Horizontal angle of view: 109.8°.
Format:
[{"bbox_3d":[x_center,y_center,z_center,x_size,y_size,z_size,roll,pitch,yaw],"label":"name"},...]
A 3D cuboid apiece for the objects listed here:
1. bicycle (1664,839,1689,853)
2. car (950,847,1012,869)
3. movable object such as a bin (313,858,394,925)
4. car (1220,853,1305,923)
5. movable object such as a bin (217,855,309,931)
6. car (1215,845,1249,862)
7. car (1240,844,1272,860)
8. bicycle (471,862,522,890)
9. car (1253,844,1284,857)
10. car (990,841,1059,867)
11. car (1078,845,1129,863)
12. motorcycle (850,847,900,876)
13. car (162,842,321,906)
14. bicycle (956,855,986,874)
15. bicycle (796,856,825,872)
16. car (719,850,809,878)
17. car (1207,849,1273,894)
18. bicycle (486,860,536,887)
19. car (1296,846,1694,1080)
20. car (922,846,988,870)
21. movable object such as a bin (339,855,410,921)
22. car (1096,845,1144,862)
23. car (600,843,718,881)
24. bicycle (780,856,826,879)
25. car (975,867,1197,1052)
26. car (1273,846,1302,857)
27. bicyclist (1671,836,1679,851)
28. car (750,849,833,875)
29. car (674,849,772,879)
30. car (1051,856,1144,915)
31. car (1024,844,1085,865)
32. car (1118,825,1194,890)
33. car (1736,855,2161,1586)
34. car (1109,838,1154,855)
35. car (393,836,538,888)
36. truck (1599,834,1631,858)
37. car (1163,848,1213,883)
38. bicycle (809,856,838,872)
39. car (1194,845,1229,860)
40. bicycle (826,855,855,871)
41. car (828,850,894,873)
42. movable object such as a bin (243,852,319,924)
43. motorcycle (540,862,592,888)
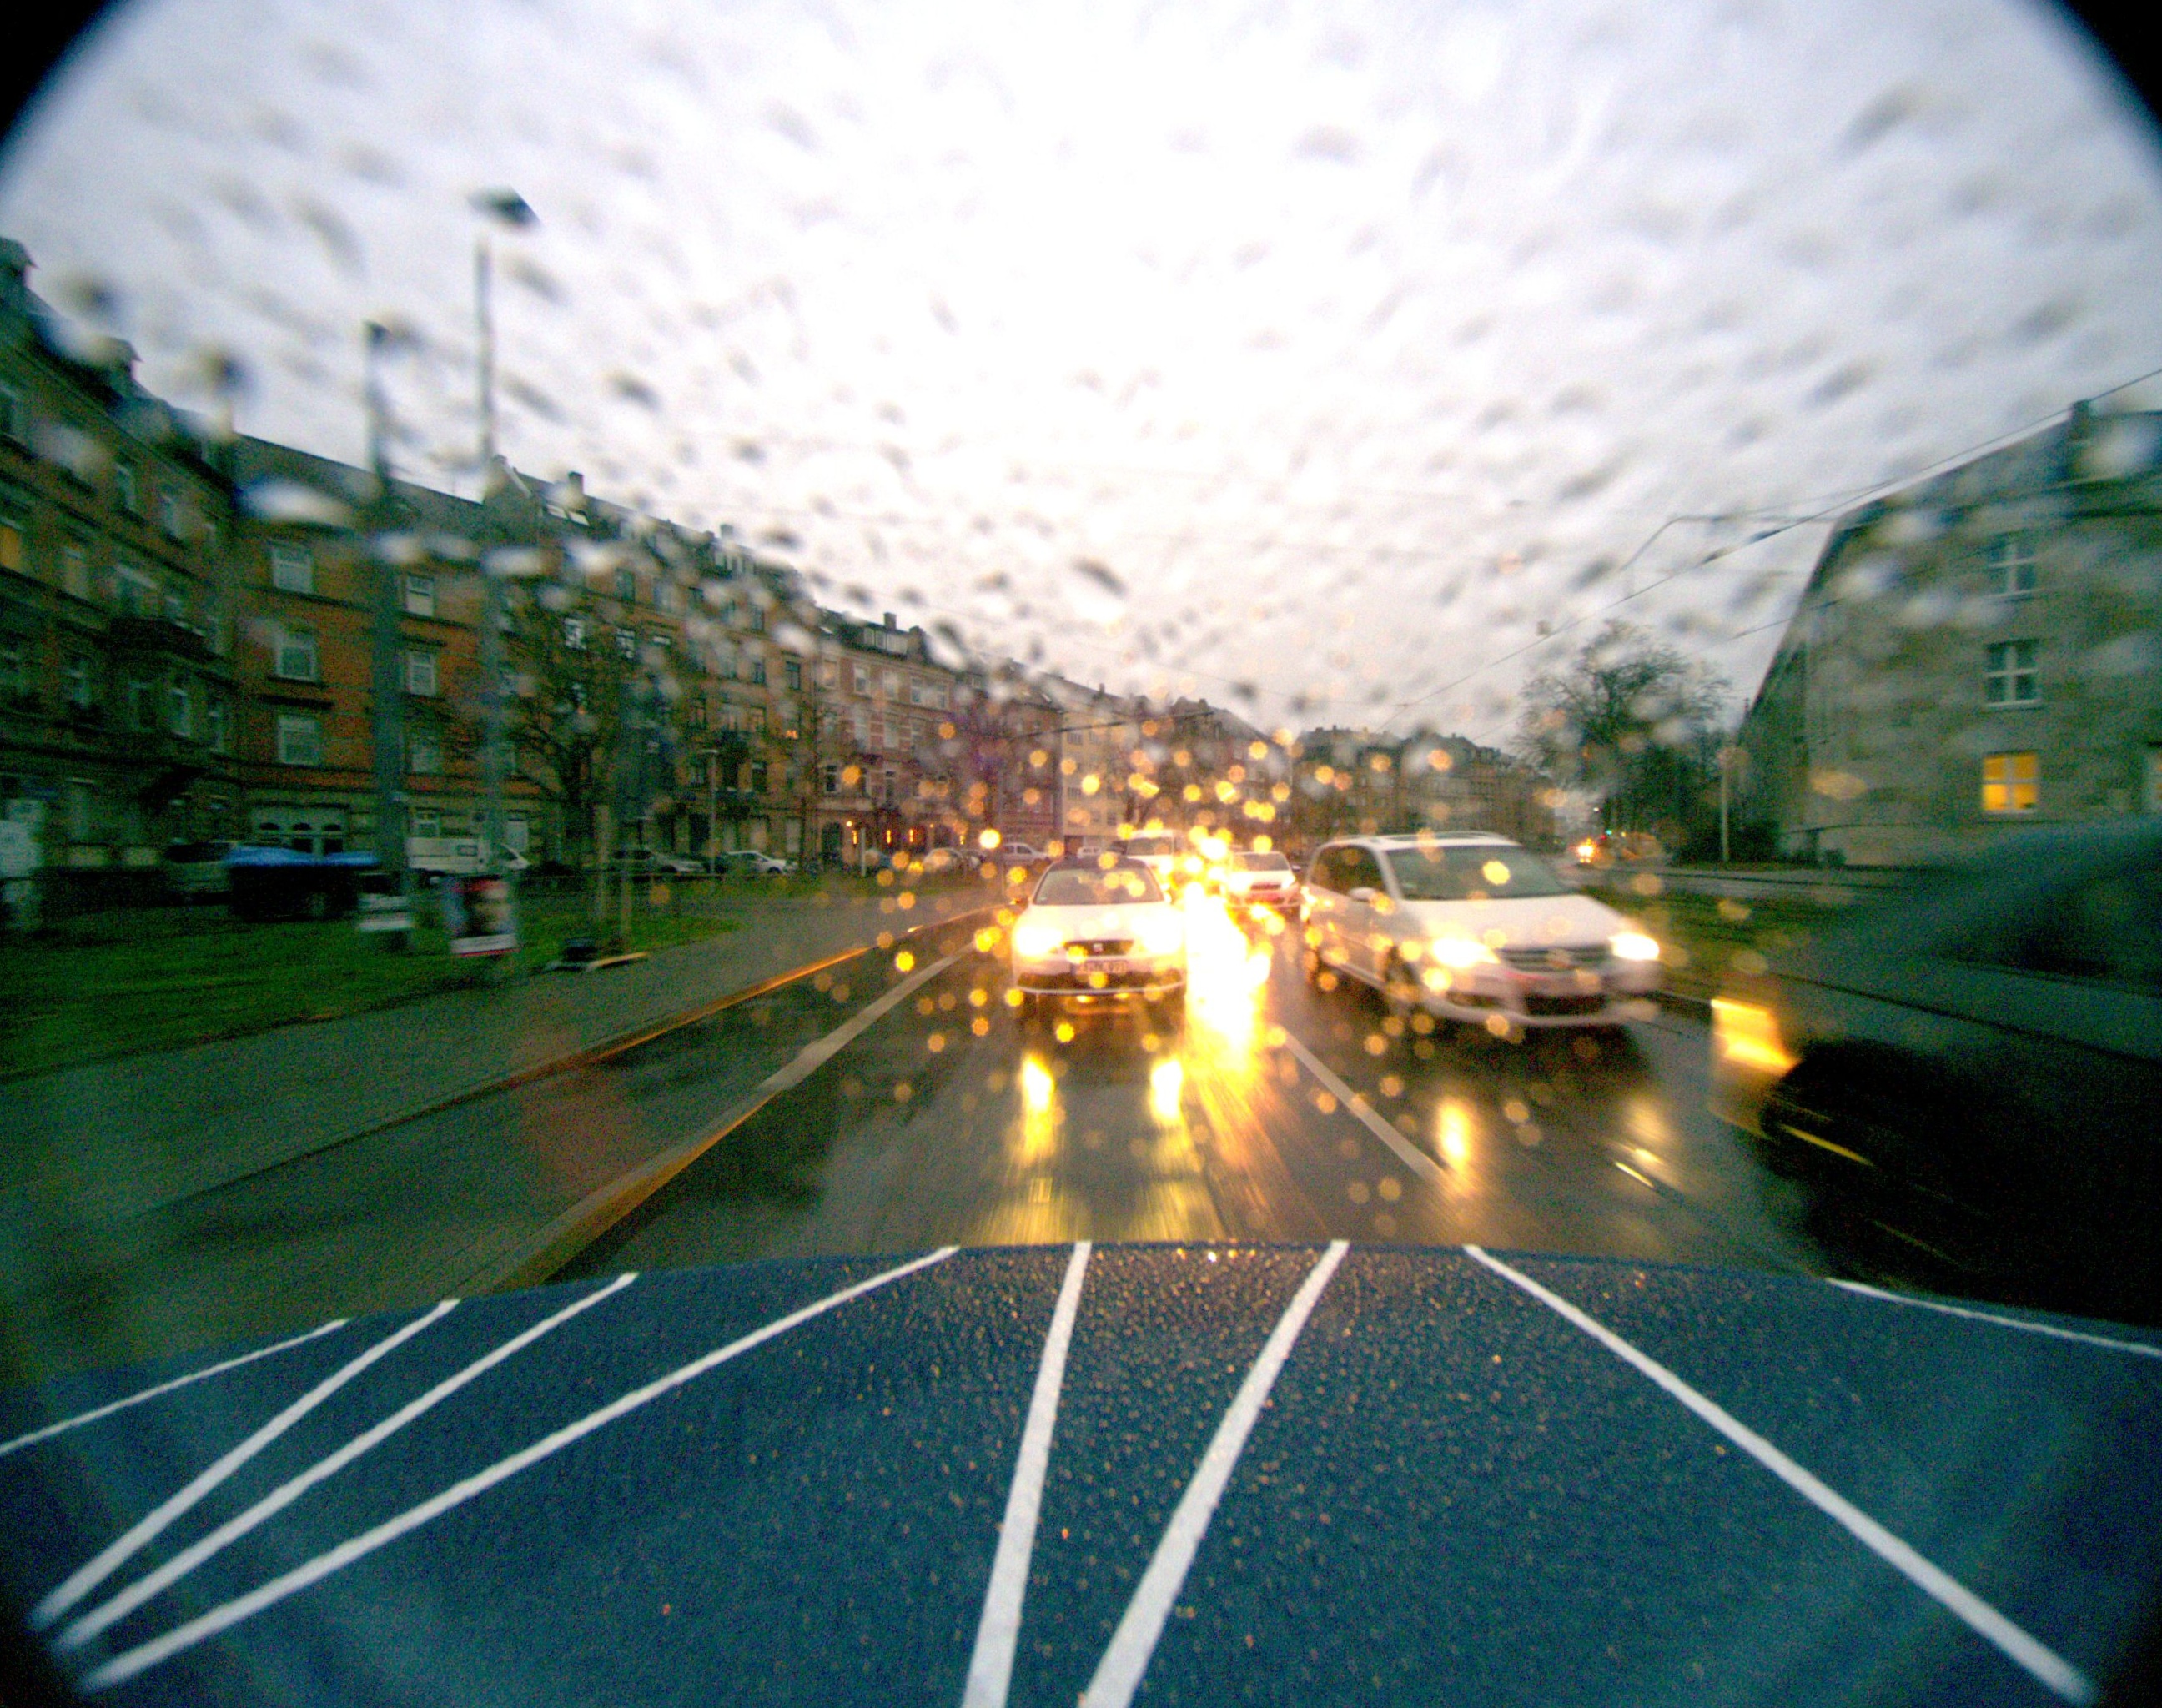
[{"bbox_3d":[76.789,-1.068,97.996,2.446,1.697,0.847,-1,2,34],"label":"bicycle"},{"bbox_3d":[-6.482,0.246,49.480,3.683,1.428,1.522,0,1,8],"label":"car"},{"bbox_3d":[-16.313,0.803,17.041,1.050,1.424,1.227,0,1,43],"label":"movable object such as a bin"},{"bbox_3d":[4.187,0.732,17.944,1.688,1.422,3.348,-1,1,9],"label":"car"},{"bbox_3d":[-17.078,0.774,15.893,1.050,1.502,1.255,0,1,43],"label":"movable object such as a bin"},{"bbox_3d":[15.191,-0.069,76.296,3.180,1.615,1.430,0,1,16],"label":"car"},{"bbox_3d":[18.601,-0.232,80.775,3.180,1.615,1.447,0,1,16],"label":"car"},{"bbox_3d":[-21.352,0.797,27.734,1.792,0.926,0.446,1,2,14],"label":"bicycle"},{"bbox_3d":[20.527,-0.421,83.052,3.180,1.405,1.383,0,1,18],"label":"car"},{"bbox_3d":[-3.807,-0.005,51.663,4.339,1.758,1.782,-1,1,7],"label":"car"},{"bbox_3d":[1.746,-0.021,58.533,3.608,1.362,1.619,0,1,12],"label":"car"},{"bbox_3d":[-10.333,0.352,38.129,2.352,1.338,0.886,3,3,22],"label":"motorcycle"},{"bbox_3d":[-27.998,0.594,25.586,1.945,1.931,4.588,-1,1,-26],"label":"car"},{"bbox_3d":[-5.996,0.557,41.311,1.790,0.926,0.447,2,2,36],"label":"bicycle"},{"bbox_3d":[-14.525,0.535,40.834,1.790,0.790,0.447,2,2,32],"label":"bicycle"},{"bbox_3d":[-15.380,0.468,36.956,3.683,1.298,1.669,-1,1,7],"label":"car"},{"bbox_3d":[5.784,0.571,27.295,1.874,1.466,4.176,-1,0,18],"label":"car"},{"bbox_3d":[-21.223,0.732,28.305,1.792,0.926,0.446,1,2,14],"label":"bicycle"},{"bbox_3d":[3.407,0.732,7.287,1.675,1.590,4.223,-1,1,3],"label":"car"},{"bbox_3d":[-7.785,0.237,47.060,3.683,1.391,1.522,0,1,8],"label":"car"},{"bbox_3d":[-16.835,0.781,18.110,1.050,1.477,1.142,0,1,43],"label":"movable object such as a bin"},{"bbox_3d":[3.104,-0.039,60.729,3.608,1.362,1.619,0,1,12],"label":"car"},{"bbox_3d":[-18.121,0.353,32.709,4.151,1.560,1.743,-1,1,7],"label":"car"},{"bbox_3d":[-12.903,0.606,35.276,1.911,1.013,0.535,0,2,-32],"label":"bicycle"},{"bbox_3d":[0.213,0.913,8.375,1.787,1.370,4.224,-2,0,5],"label":"car"},{"bbox_3d":[23.349,-0.287,85.893,3.180,1.276,1.383,0,1,18],"label":"car"},{"bbox_3d":[76.664,-1.355,98.057,0.777,2.002,0.831,-1,2,35],"label":"bicyclist"},{"bbox_3d":[-14.977,0.397,39.395,3.683,1.298,1.522,-1,1,7],"label":"car"},{"bbox_3d":[-16.278,0.438,34.642,3.683,1.298,1.743,-1,1,7],"label":"car"},{"bbox_3d":[0.554,0.811,20.865,1.721,1.380,3.825,-1,1,14],"label":"car"},{"bbox_3d":[-1.862,0.028,53.817,3.957,1.436,1.703,0,1,13],"label":"car"},{"bbox_3d":[3.237,0.108,31.628,2.239,2.448,5.675,-1,1,15],"label":"car"},{"bbox_3d":[3.243,0.809,0.538,1.825,1.561,4.361,-1,1,0],"label":"car"},{"bbox_3d":[4.209,-0.613,63.163,3.610,1.362,1.618,-1,1,6],"label":"car"},{"bbox_3d":[-27.678,0.324,34.313,1.994,2.176,4.671,0,1,36],"label":"car"},{"bbox_3d":[45.202,-0.680,64.247,1.833,2.032,4.008,0,1,40],"label":"truck"},{"bbox_3d":[5.606,0.558,39.399,1.874,1.679,4.176,-1,1,18],"label":"car"},{"bbox_3d":[-13.998,0.535,41.289,1.790,0.773,0.447,2,2,32],"label":"bicycle"},{"bbox_3d":[12.704,-0.179,73.983,3.180,1.420,1.430,0,1,16],"label":"car"},{"bbox_3d":[-13.417,0.505,42.352,1.790,0.813,0.395,2,2,29],"label":"bicycle"},{"bbox_3d":[-12.690,0.442,43.909,3.296,1.298,1.522,0,1,8],"label":"car"},{"bbox_3d":[-18.163,0.740,17.264,1.050,1.566,1.142,0,1,43],"label":"movable object such as a bin"},{"bbox_3d":[-19.929,0.794,29.414,1.793,0.926,0.513,1,2,8],"label":"motorcycle"}]
